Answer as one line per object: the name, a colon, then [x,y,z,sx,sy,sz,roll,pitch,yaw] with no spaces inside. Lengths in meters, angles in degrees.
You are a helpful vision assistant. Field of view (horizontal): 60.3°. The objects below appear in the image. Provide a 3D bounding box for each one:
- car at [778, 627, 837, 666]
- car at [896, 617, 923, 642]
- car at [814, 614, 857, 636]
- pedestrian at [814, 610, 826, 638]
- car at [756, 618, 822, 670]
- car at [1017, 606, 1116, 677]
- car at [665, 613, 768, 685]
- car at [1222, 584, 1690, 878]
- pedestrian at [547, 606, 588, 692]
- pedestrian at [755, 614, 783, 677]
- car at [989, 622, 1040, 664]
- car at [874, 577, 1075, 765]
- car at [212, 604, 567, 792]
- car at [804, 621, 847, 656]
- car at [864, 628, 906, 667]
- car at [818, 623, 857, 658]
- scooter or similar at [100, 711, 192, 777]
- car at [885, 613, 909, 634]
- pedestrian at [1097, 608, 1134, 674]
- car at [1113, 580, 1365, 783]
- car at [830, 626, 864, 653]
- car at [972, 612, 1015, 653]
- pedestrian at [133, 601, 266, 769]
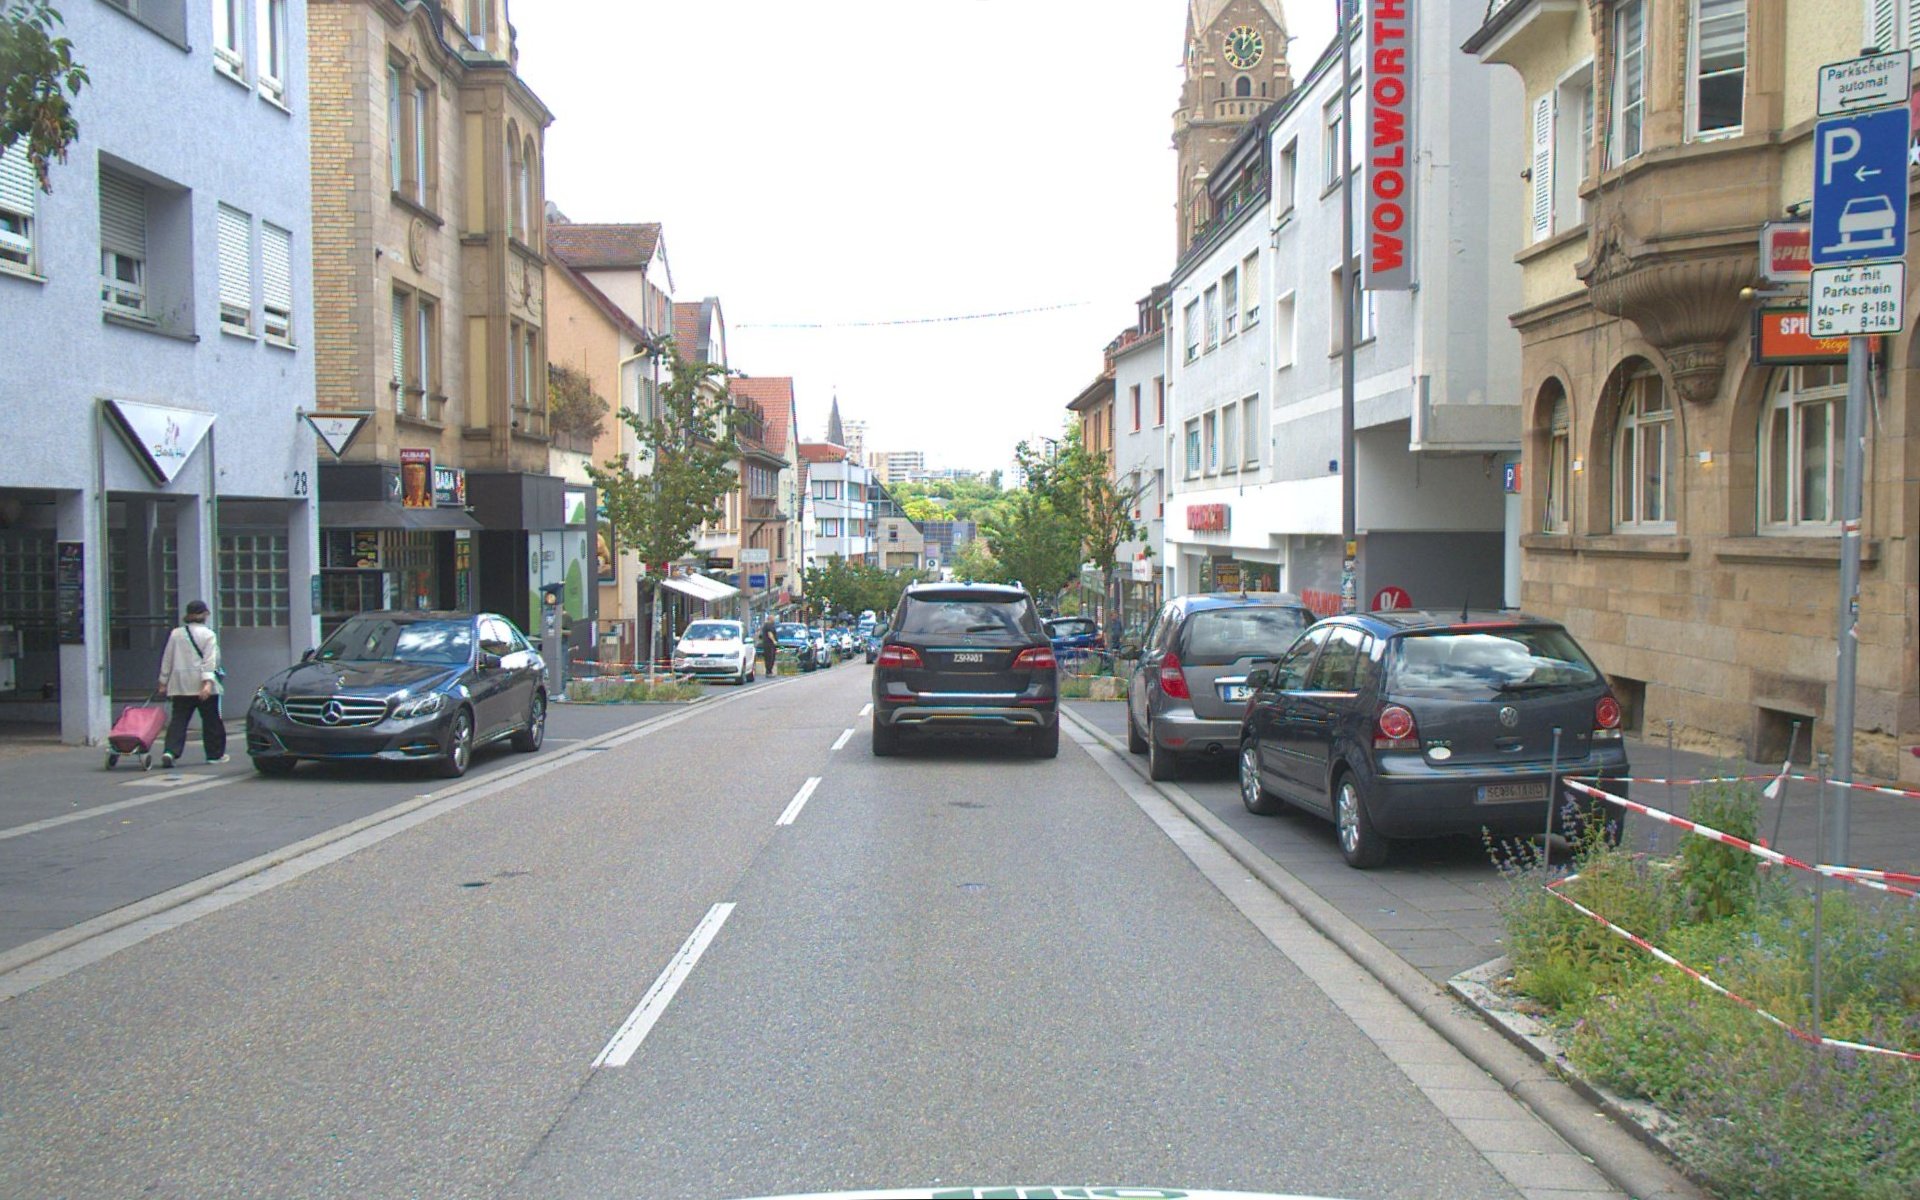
car: [-5.861,1.769,64.003,1.887,1.455,4.261,1,-1,0]
car: [-3.815,2.209,124.686,1.951,1.748,4.445,-1,0,-2]
car: [-11.501,2.307,152.575,3.909,1.780,1.998,-2,-1,-5]
pedestrian: [-8.587,1.494,101.470,0.628,1.697,0.720,0,-1,-2]
car: [-5.764,1.490,56.237,1.888,1.650,4.637,1,-1,-2]
car: [2.476,1.008,39.236,1.714,1.524,3.795,-3,-2,-6]
car: [-5.678,1.117,38.982,1.888,1.538,4.260,2,0,-2]
car: [3.019,0.722,10.947,1.713,1.535,3.872,-2,0,-3]
pedestrian: [-6.950,0.866,29.310,0.480,1.489,0.559,2,-1,8]
pedestrian: [-5.254,1.248,45.485,0.722,1.701,0.862,0,-1,-4]
car: [2.147,1.682,66.255,1.713,1.491,4.073,-4,0,-2]
car: [0.122,0.678,17.900,1.904,1.770,4.178,1,0,0]
car: [-5.351,0.833,16.274,1.888,1.518,4.840,2,0,-2]
car: [-6.284,1.782,77.631,1.888,1.523,4.259,-1,0,-4]
car: [-3.444,2.133,75.156,1.783,1.646,4.132,-2,-1,-3]
car: [-6.272,2.056,84.923,1.888,1.623,4.454,2,0,-4]
scooter or similar: [-7.188,1.268,14.629,0.514,0.528,0.573,2,-1,-1]
car: [-5.447,2.020,142.363,1.887,1.657,4.261,2,0,-1]
pedestrian: [3.826,1.004,40.673,0.741,1.588,0.817,-2,-1,-4]
car: [2.505,0.692,15.708,1.712,1.636,3.800,-2,0,0]
car: [-6.881,2.388,101.337,1.888,1.523,4.260,2,0,-2]
car: [1.679,1.602,83.750,1.899,1.924,4.705,-2,0,-1]
pedestrian: [-7.047,0.773,15.370,0.809,1.489,0.809,2,-1,-2]
